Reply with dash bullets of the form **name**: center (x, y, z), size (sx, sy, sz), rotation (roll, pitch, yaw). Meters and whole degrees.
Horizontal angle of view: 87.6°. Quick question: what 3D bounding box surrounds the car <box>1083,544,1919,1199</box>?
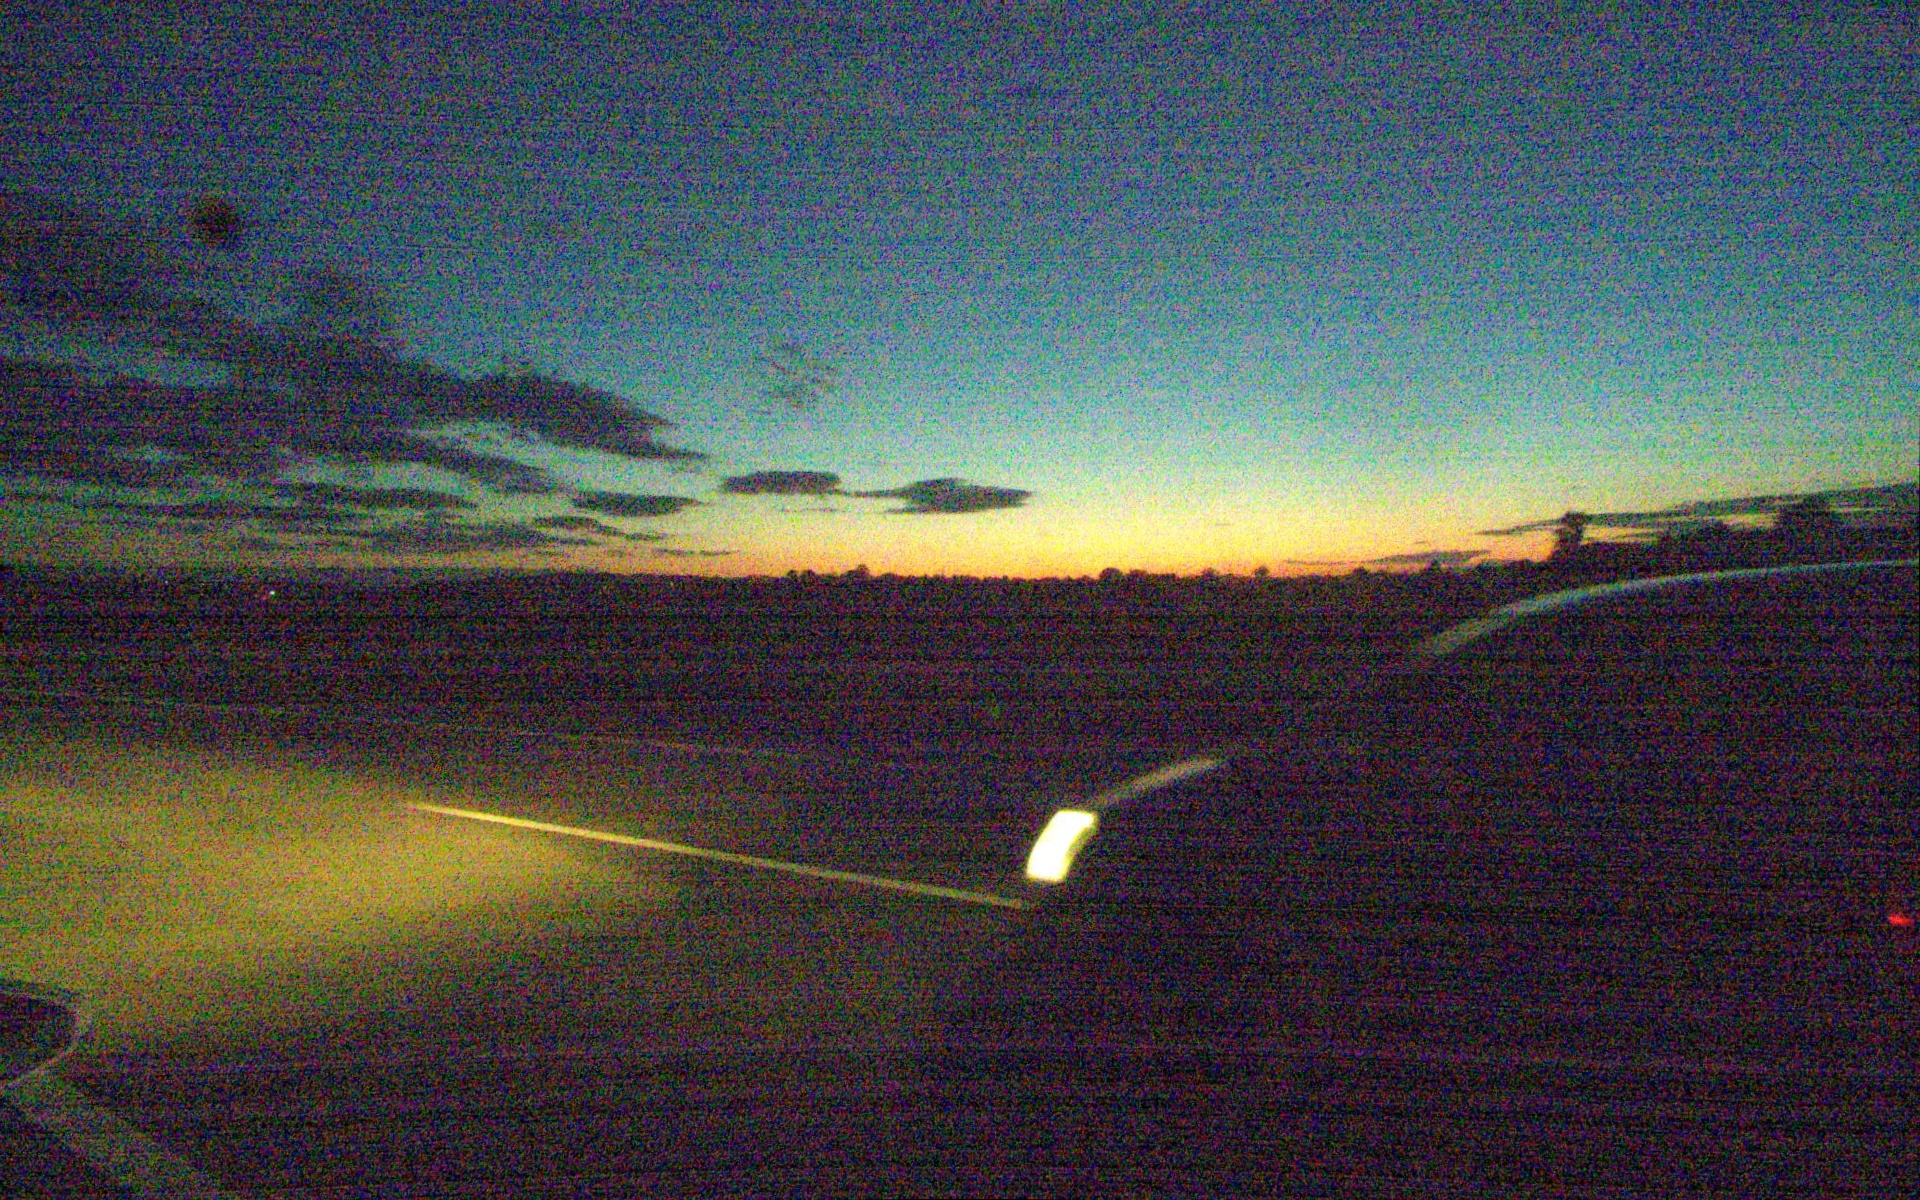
- **car**: center (2.691, 0.689, 2.618), size (4.446, 1.618, 1.642), rotation (-1, 0, 33)
